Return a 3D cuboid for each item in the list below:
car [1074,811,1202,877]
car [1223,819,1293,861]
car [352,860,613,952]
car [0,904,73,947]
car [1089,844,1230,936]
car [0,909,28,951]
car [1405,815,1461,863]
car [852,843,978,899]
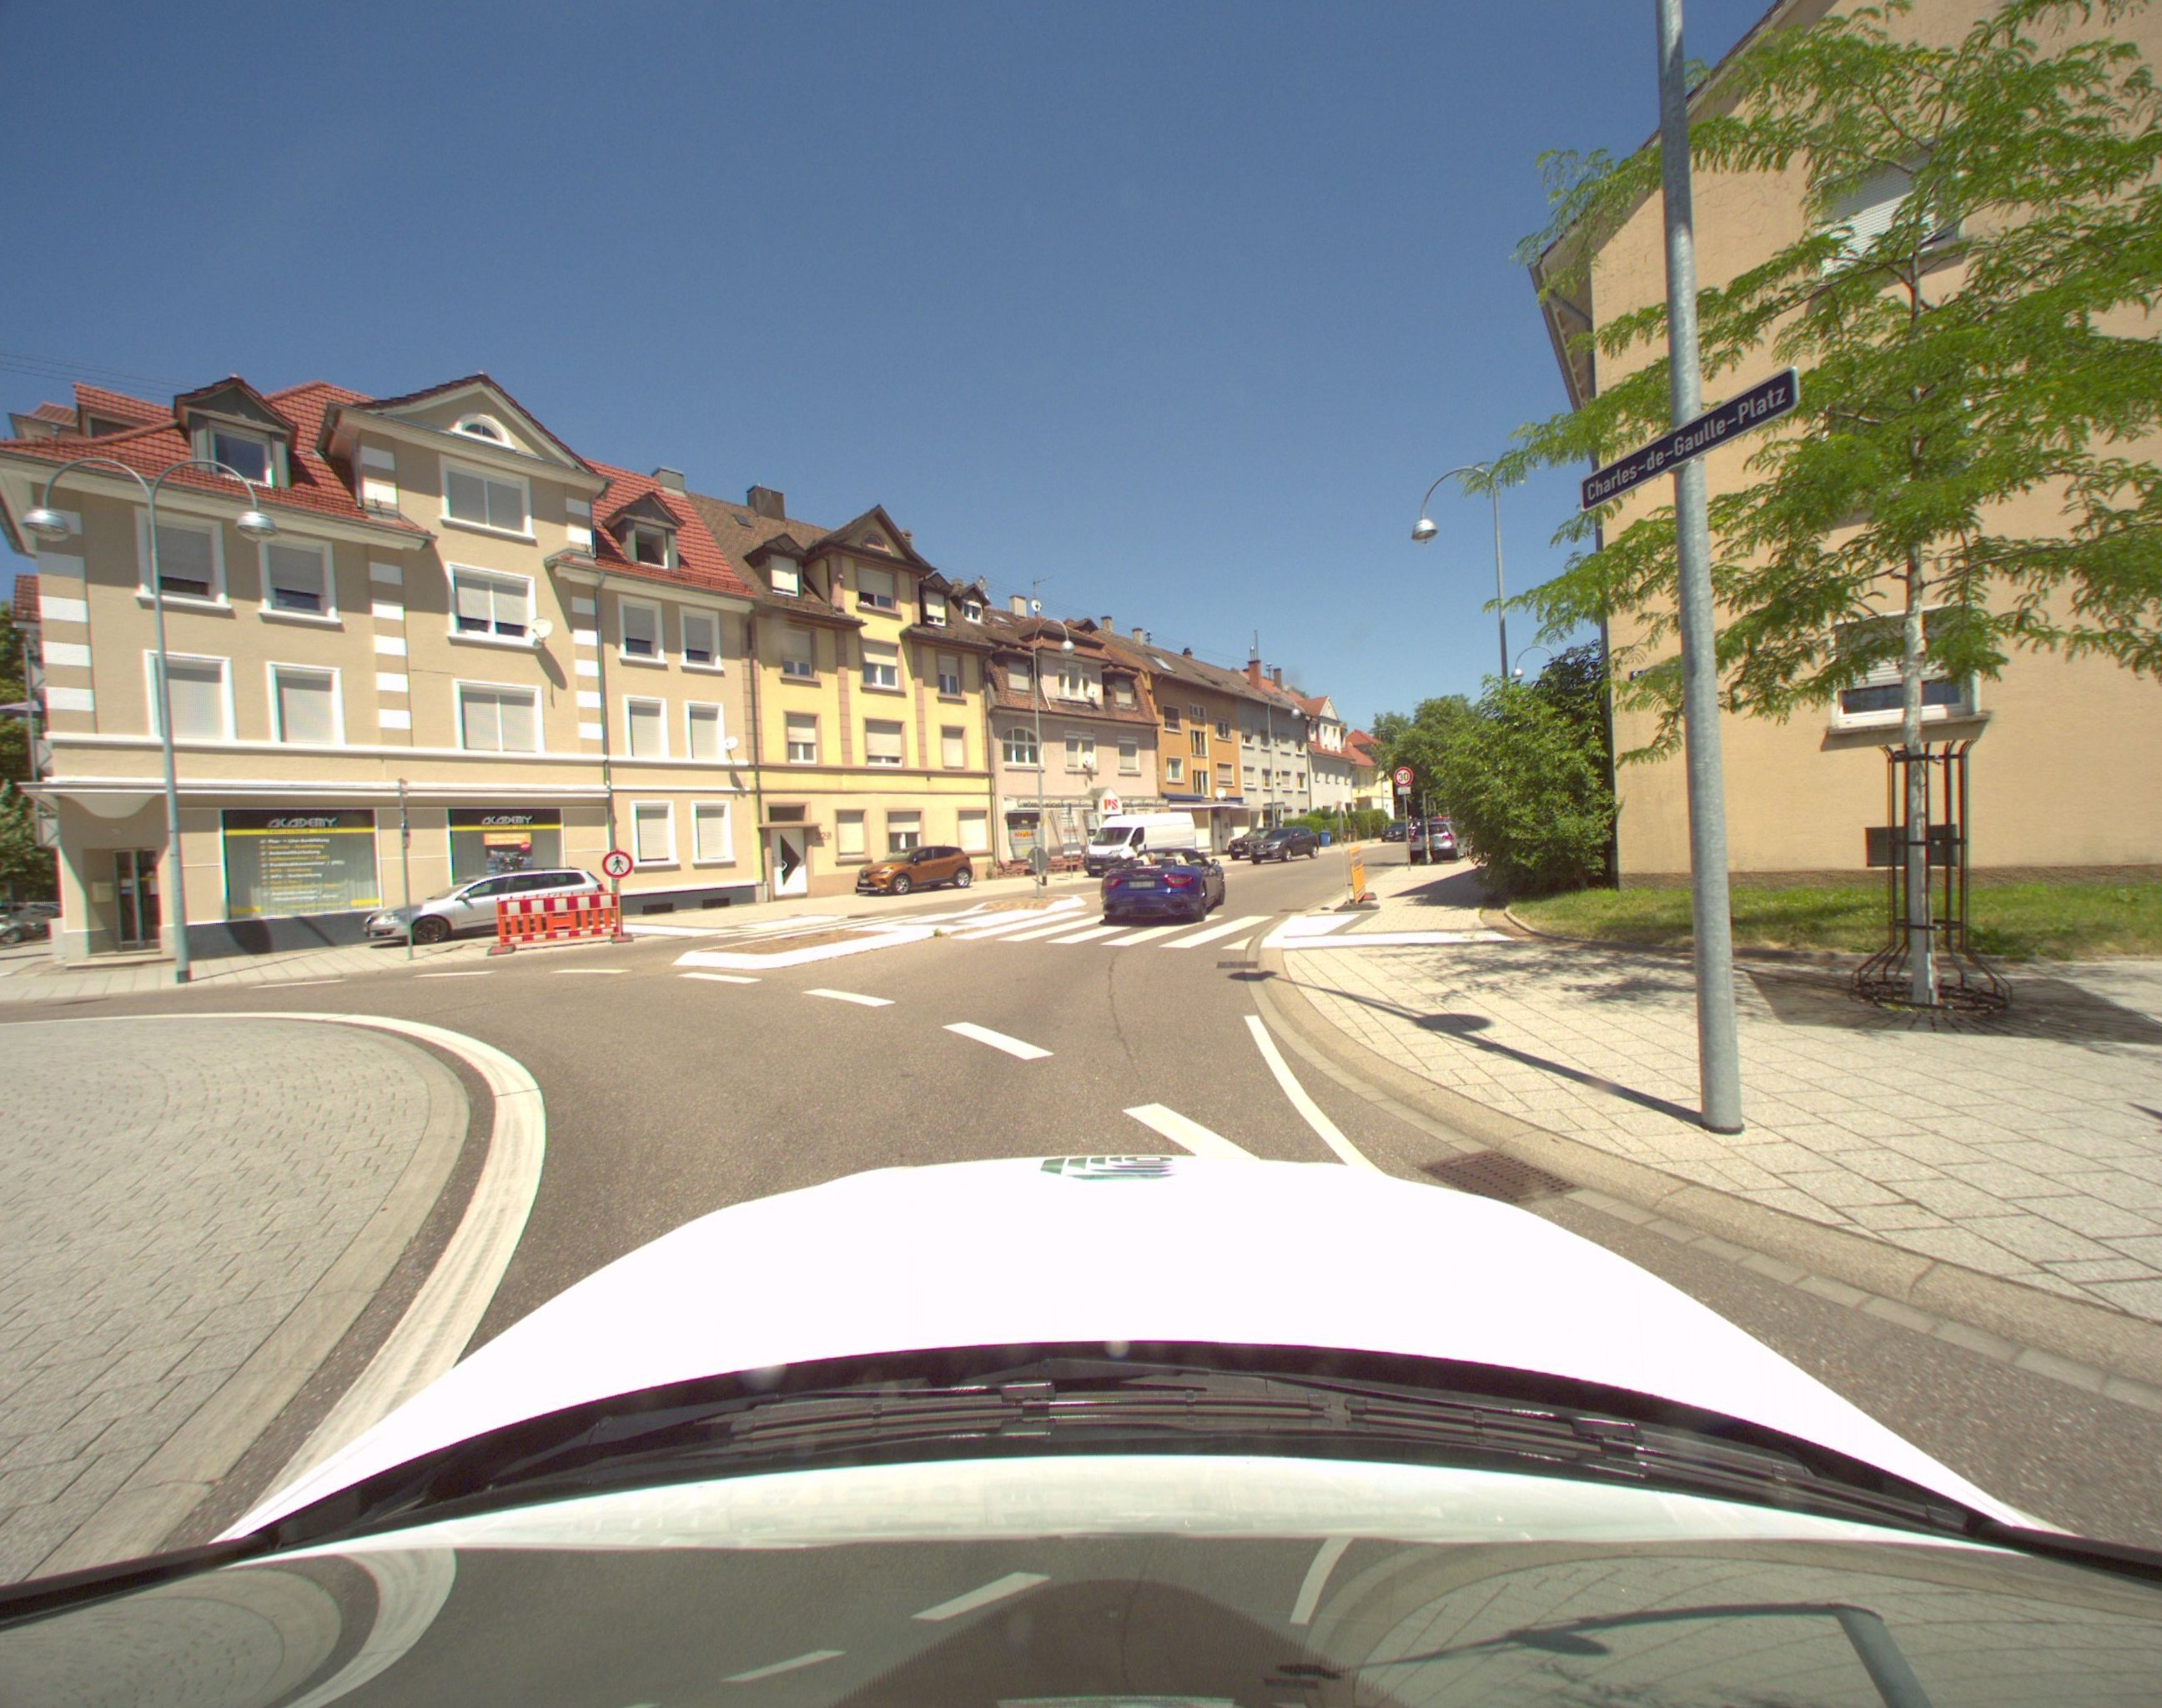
[{"bbox_3d":[2.575,-0.505,34.638,2.124,2.532,6.278,-1,2,39],"label":"car"},{"bbox_3d":[9.379,-0.777,42.986,2.047,2.013,4.026,-3,0,36],"label":"car"},{"bbox_3d":[-14.189,1.138,19.572,1.758,1.685,4.724,-2,1,41],"label":"car"},{"bbox_3d":[-42.353,2.874,31.429,1.957,1.492,4.107,-4,0,44],"label":"car"},{"bbox_3d":[1.745,0.635,16.411,1.856,1.530,4.527,-3,-1,17],"label":"car"},{"bbox_3d":[-41.007,2.913,28.742,1.957,1.492,4.436,-4,0,44],"label":"car"},{"bbox_3d":[13.685,-0.634,31.662,1.862,1.631,3.612,-2,3,24],"label":"car"},{"bbox_3d":[-5.683,0.516,28.224,1.583,1.616,4.117,0,3,41],"label":"car"}]
